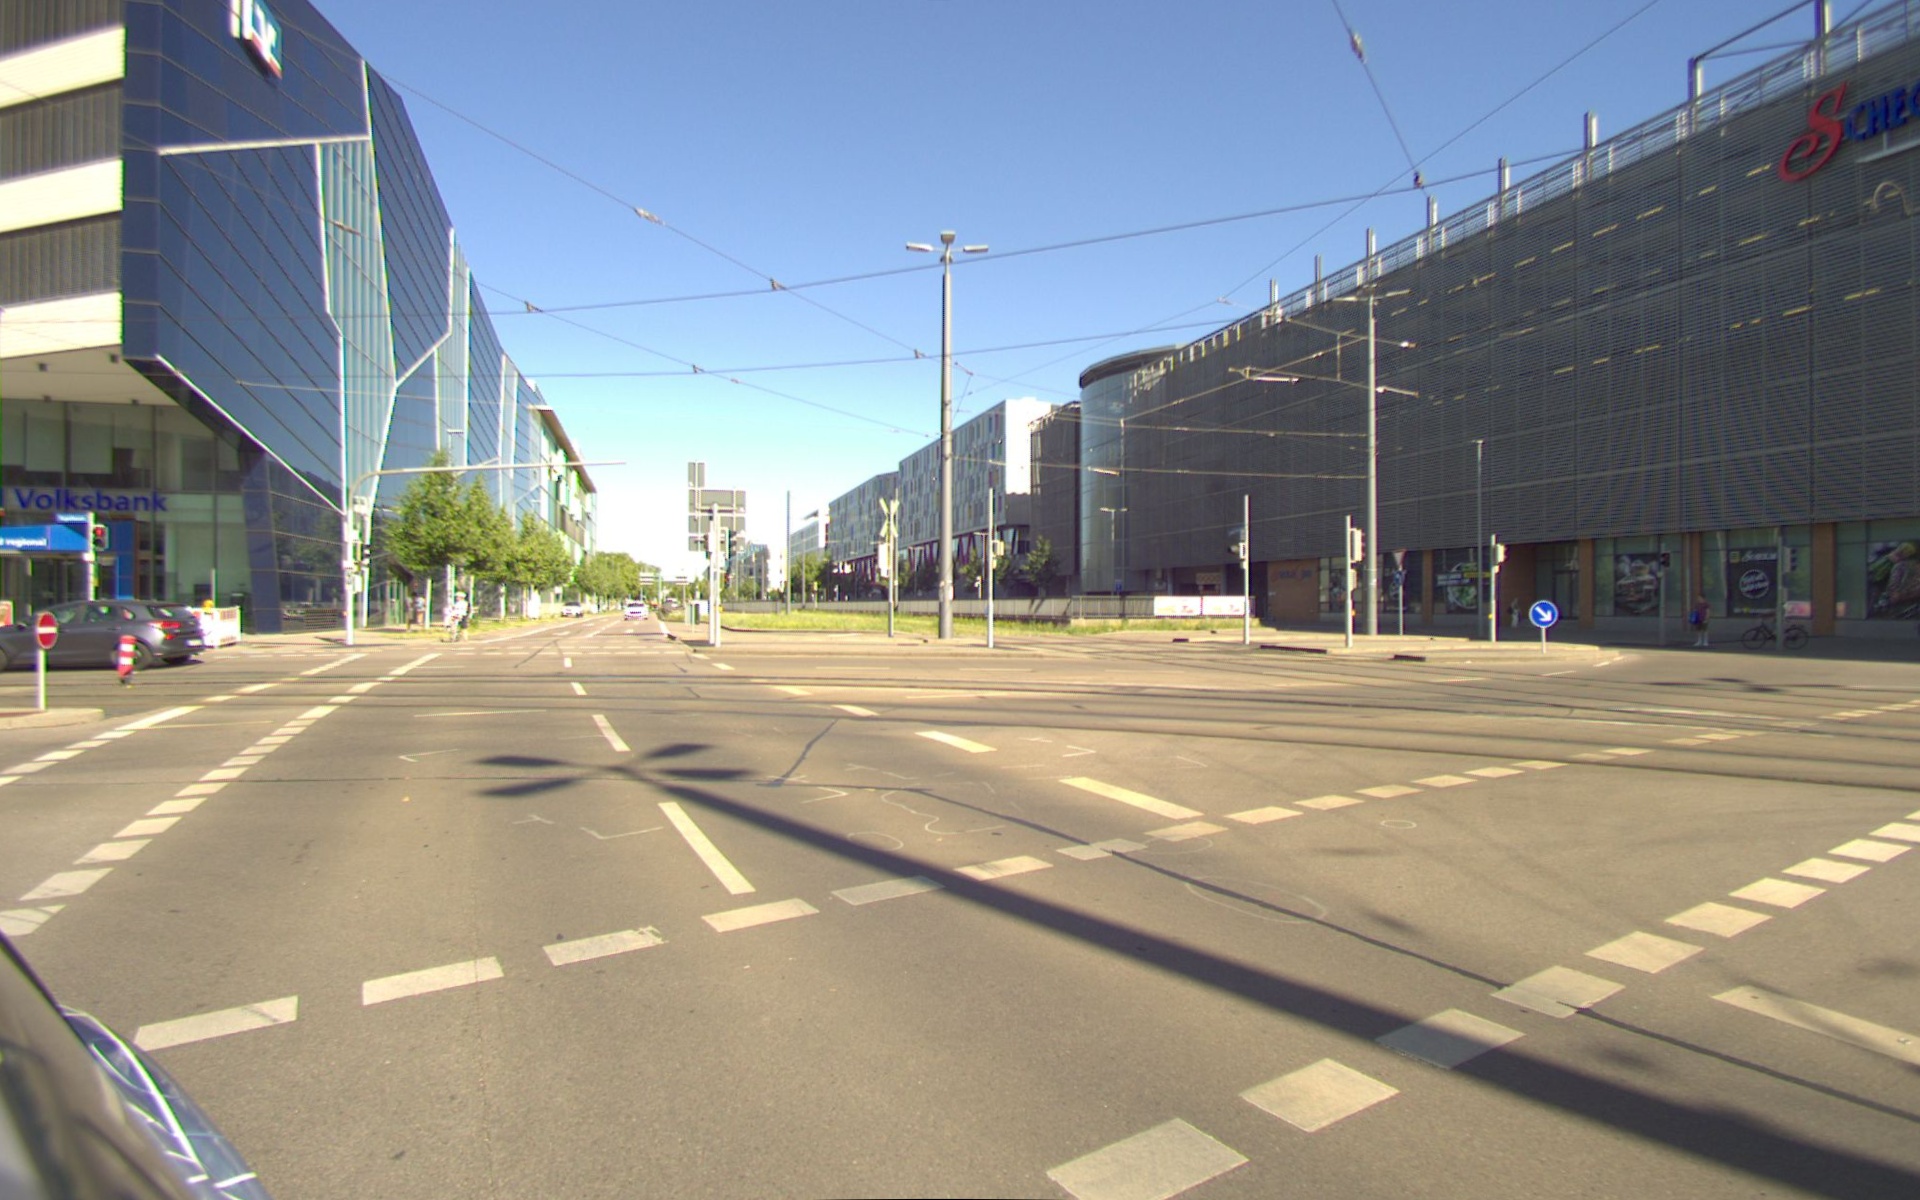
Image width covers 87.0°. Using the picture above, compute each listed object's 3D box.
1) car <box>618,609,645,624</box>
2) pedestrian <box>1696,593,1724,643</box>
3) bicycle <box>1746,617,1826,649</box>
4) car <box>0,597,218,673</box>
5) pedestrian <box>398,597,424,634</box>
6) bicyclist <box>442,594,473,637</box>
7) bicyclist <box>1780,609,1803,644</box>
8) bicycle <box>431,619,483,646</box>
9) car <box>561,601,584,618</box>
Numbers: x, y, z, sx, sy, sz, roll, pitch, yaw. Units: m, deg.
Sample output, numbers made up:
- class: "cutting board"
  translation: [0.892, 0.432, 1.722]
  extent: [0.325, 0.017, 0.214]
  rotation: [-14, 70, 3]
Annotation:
- class: "car"
  translation: [-25.510, 1.275, 78.613]
  extent: [1.966, 1.098, 4.012]
  rotation: [0, 0, -17]
- class: "pedestrian"
  translation: [26.528, 0.636, 35.798]
  extent: [0.579, 1.764, 0.627]
  rotation: [0, -1, -37]
- class: "bicycle"
  translation: [27.214, 1.079, 33.366]
  extent: [2.019, 0.993, 0.552]
  rotation: [0, 0, 39]
- class: "car"
  translation: [-18.516, 0.707, 21.303]
  extent: [4.238, 1.511, 2.005]
  rotation: [0, 0, -12]
- class: "pedestrian"
  translation: [-23.350, 0.640, 43.064]
  extent: [0.843, 1.567, 0.615]
  rotation: [0, 0, -13]
- class: "bicyclist"
  translation: [-17.046, 0.519, 34.340]
  extent: [0.750, 1.420, 0.773]
  rotation: [0, 0, -6]
- class: "bicyclist"
  translation: [27.319, 0.857, 33.267]
  extent: [0.563, 1.148, 0.552]
  rotation: [0, -1, 39]
- class: "bicycle"
  translation: [-17.043, 1.076, 34.372]
  extent: [0.758, 0.846, 2.572]
  rotation: [0, 0, -7]
- class: "car"
  translation: [-40.089, 0.953, 104.776]
  extent: [1.966, 1.741, 4.012]
  rotation: [0, 0, -17]
